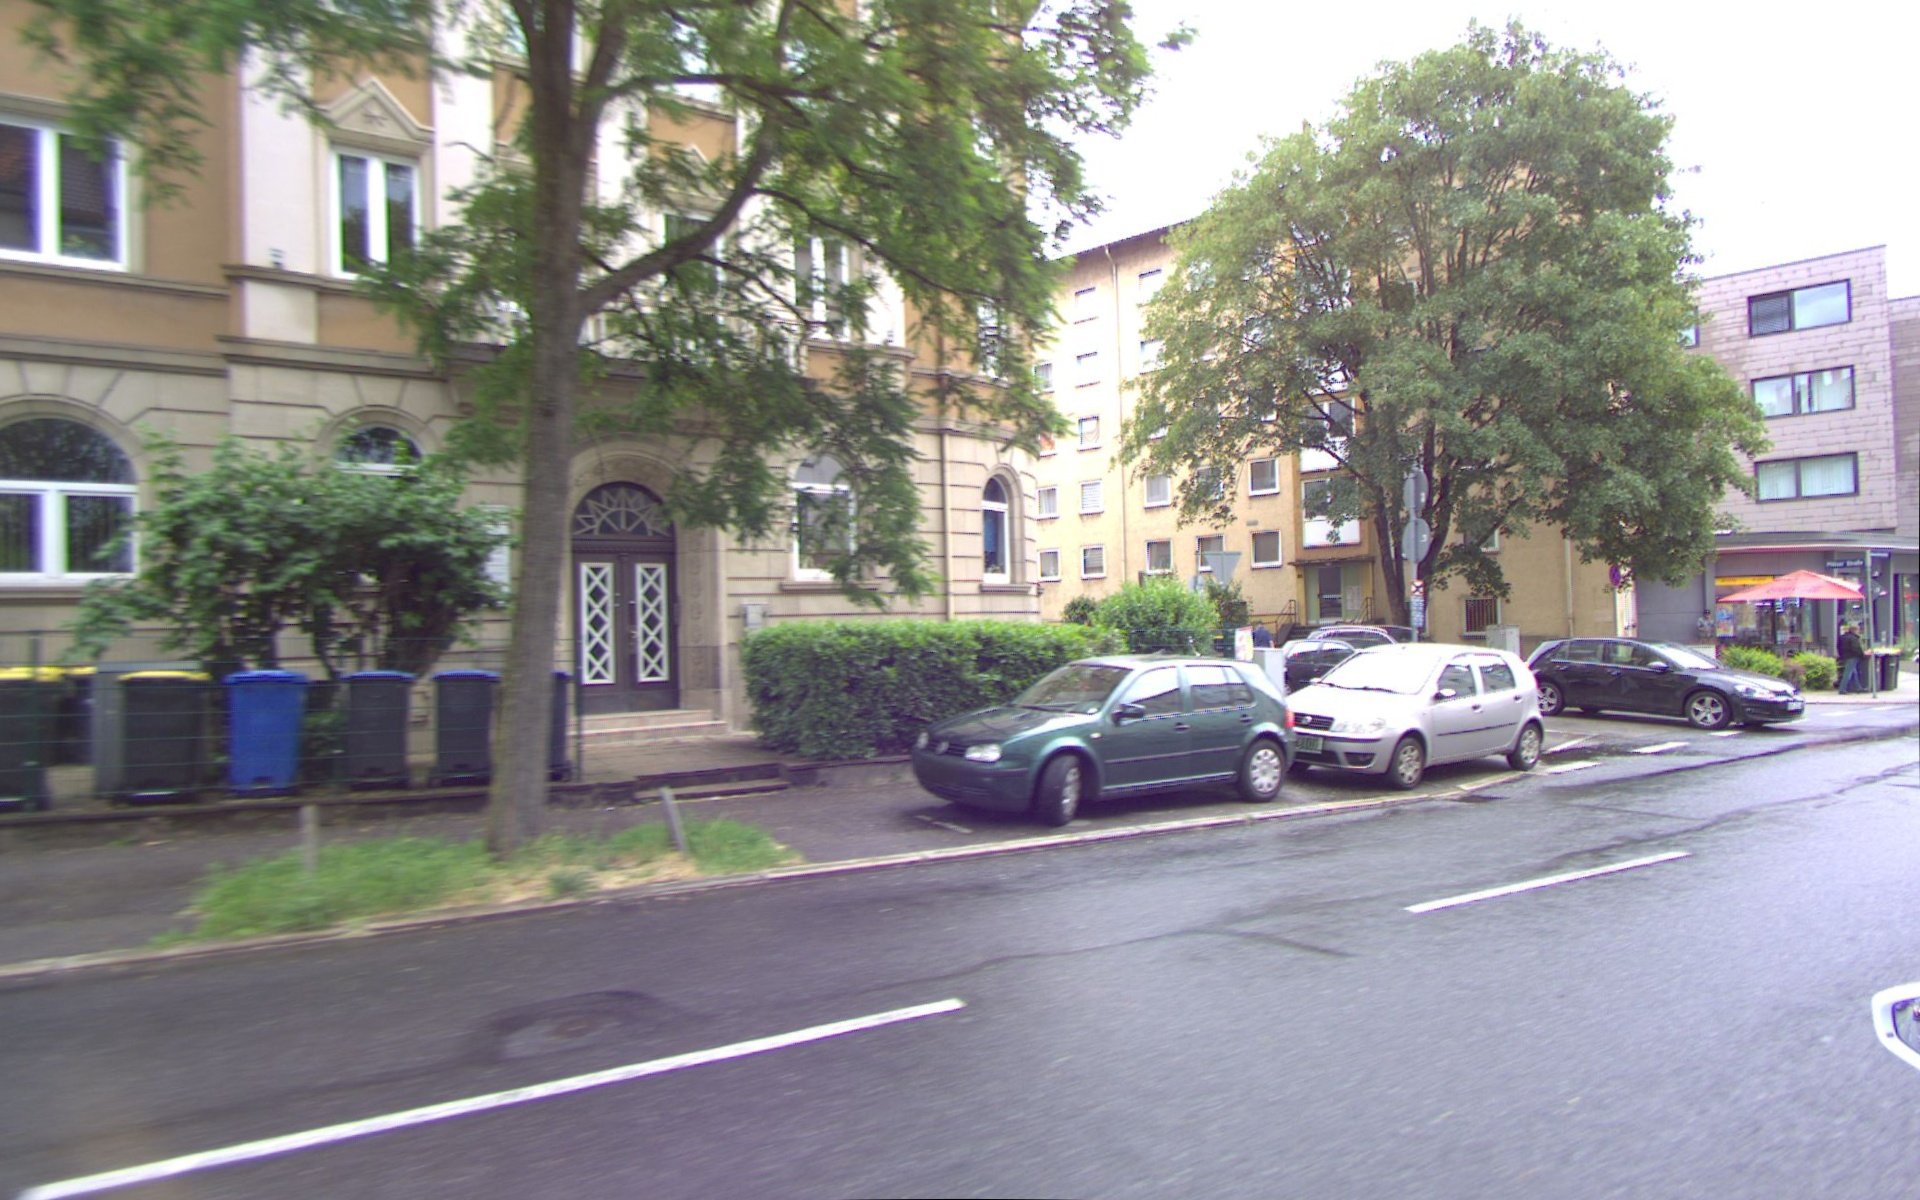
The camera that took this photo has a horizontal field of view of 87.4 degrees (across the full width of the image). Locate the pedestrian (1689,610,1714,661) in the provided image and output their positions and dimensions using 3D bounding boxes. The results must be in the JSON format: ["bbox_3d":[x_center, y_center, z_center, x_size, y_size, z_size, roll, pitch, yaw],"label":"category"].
[{"bbox_3d":[26.872,1.283,36.403,0.624,1.840,0.636,-2,-1,31],"label":"pedestrian"}]

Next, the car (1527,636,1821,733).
[{"bbox_3d":[12.190,1.375,17.386,1.722,1.408,3.798,2,-2,-30],"label":"car"}]

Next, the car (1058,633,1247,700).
[{"bbox_3d":[4.581,1.544,24.202,4.165,1.439,1.705,-1,-2,36],"label":"car"}]

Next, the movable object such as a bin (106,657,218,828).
[{"bbox_3d":[-6.526,1.137,8.240,0.642,1.326,0.437,1,-2,-30],"label":"movable object such as a bin"}]

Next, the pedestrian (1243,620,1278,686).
[{"bbox_3d":[8.077,1.412,26.982,0.618,1.705,0.814,2,3,41],"label":"pedestrian"}]

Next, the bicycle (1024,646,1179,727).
[{"bbox_3d":[1.991,1.196,14.500,0.799,1.060,2.325,1,-2,-37],"label":"bicycle"}]

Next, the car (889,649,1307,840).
[{"bbox_3d":[1.406,1.241,9.789,3.898,1.473,1.645,1,-2,-31],"label":"car"}]

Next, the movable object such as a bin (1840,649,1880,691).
[{"bbox_3d":[23.702,1.842,26.461,0.722,1.095,0.551,2,-3,-29],"label":"movable object such as a bin"}]

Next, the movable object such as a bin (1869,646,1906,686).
[{"bbox_3d":[25.612,1.830,27.739,0.530,1.085,0.472,0,-3,7],"label":"movable object such as a bin"}]

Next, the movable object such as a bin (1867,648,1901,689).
[{"bbox_3d":[25.014,1.851,27.204,0.599,1.095,0.488,2,-3,-29],"label":"movable object such as a bin"}]

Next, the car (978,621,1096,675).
[{"bbox_3d":[2.575,1.562,33.722,3.545,1.528,1.685,2,2,30],"label":"car"}]

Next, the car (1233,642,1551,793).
[{"bbox_3d":[5.113,1.243,11.764,3.799,1.473,1.622,1,-2,-34],"label":"car"}]

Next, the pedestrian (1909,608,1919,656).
[{"bbox_3d":[34.637,1.150,36.134,0.650,1.728,0.658,2,0,42],"label":"pedestrian"}]

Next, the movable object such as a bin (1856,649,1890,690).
[{"bbox_3d":[24.438,1.851,26.884,0.599,1.095,0.488,2,-3,-29],"label":"movable object such as a bin"}]

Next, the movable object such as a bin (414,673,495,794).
[{"bbox_3d":[-4.688,1.217,9.320,0.643,1.054,0.424,1,-2,-30],"label":"movable object such as a bin"}]

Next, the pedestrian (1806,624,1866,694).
[{"bbox_3d":[22.636,1.493,25.955,0.708,1.754,1.054,0,-1,-39],"label":"pedestrian"}]

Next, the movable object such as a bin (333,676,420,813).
[{"bbox_3d":[-5.221,1.271,9.008,0.649,1.145,0.437,1,-2,-30],"label":"movable object such as a bin"}]

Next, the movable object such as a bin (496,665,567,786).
[{"bbox_3d":[-4.114,1.181,9.639,0.583,1.095,0.437,1,-2,-30],"label":"movable object such as a bin"}]

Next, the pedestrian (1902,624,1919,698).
[{"bbox_3d":[22.847,1.437,23.732,0.731,1.731,0.677,-4,-4,40],"label":"pedestrian"}]

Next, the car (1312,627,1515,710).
[{"bbox_3d":[9.834,1.426,22.038,1.673,1.603,3.793,-1,-1,-29],"label":"car"}]

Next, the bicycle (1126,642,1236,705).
[{"bbox_3d":[3.800,1.252,17.252,1.673,1.024,0.806,-2,-2,27],"label":"bicycle"}]

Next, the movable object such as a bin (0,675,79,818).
[{"bbox_3d":[-7.307,1.124,7.769,0.642,1.053,0.437,1,-2,-30],"label":"movable object such as a bin"}]

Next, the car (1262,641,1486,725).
[{"bbox_3d":[7.860,1.519,19.437,1.720,1.408,3.803,0,-2,-26],"label":"car"}]

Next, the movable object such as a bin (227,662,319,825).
[{"bbox_3d":[-5.911,1.211,8.665,0.602,1.326,0.437,1,-2,-30],"label":"movable object such as a bin"}]
